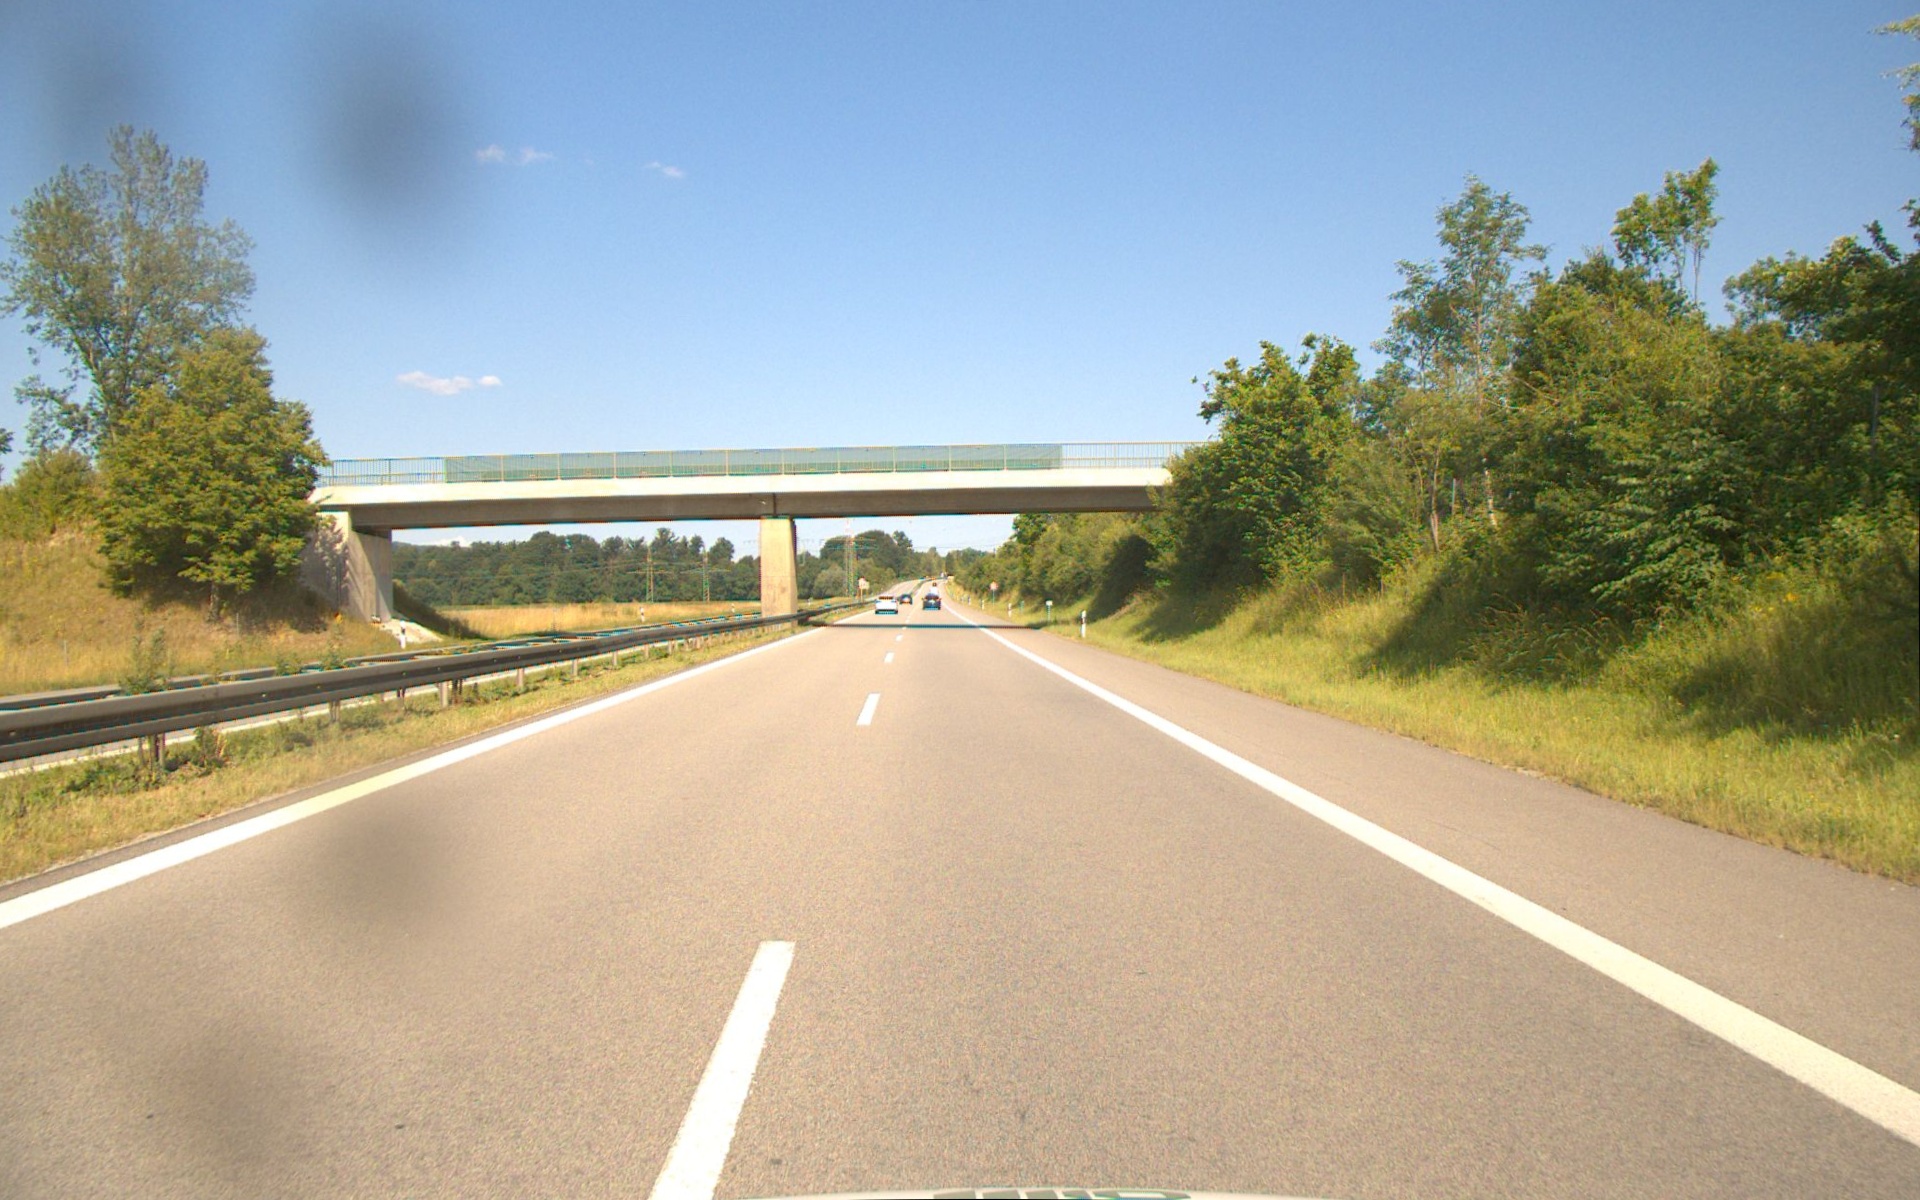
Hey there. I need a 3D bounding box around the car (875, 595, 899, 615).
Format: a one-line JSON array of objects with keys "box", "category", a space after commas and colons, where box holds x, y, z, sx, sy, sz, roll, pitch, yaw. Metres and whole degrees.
[{"box": [-5.639, 0.388, 128.116, 1.806, 1.440, 3.998, 1, 0, -2], "category": "car"}]

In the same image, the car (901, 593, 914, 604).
[{"box": [-7.546, -0.181, 236.322, 1.806, 1.461, 3.998, 1, 0, -2], "category": "car"}]

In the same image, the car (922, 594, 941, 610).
[{"box": [-2.826, 0.177, 164.506, 1.806, 1.546, 3.998, 1, 0, -2], "category": "car"}]
